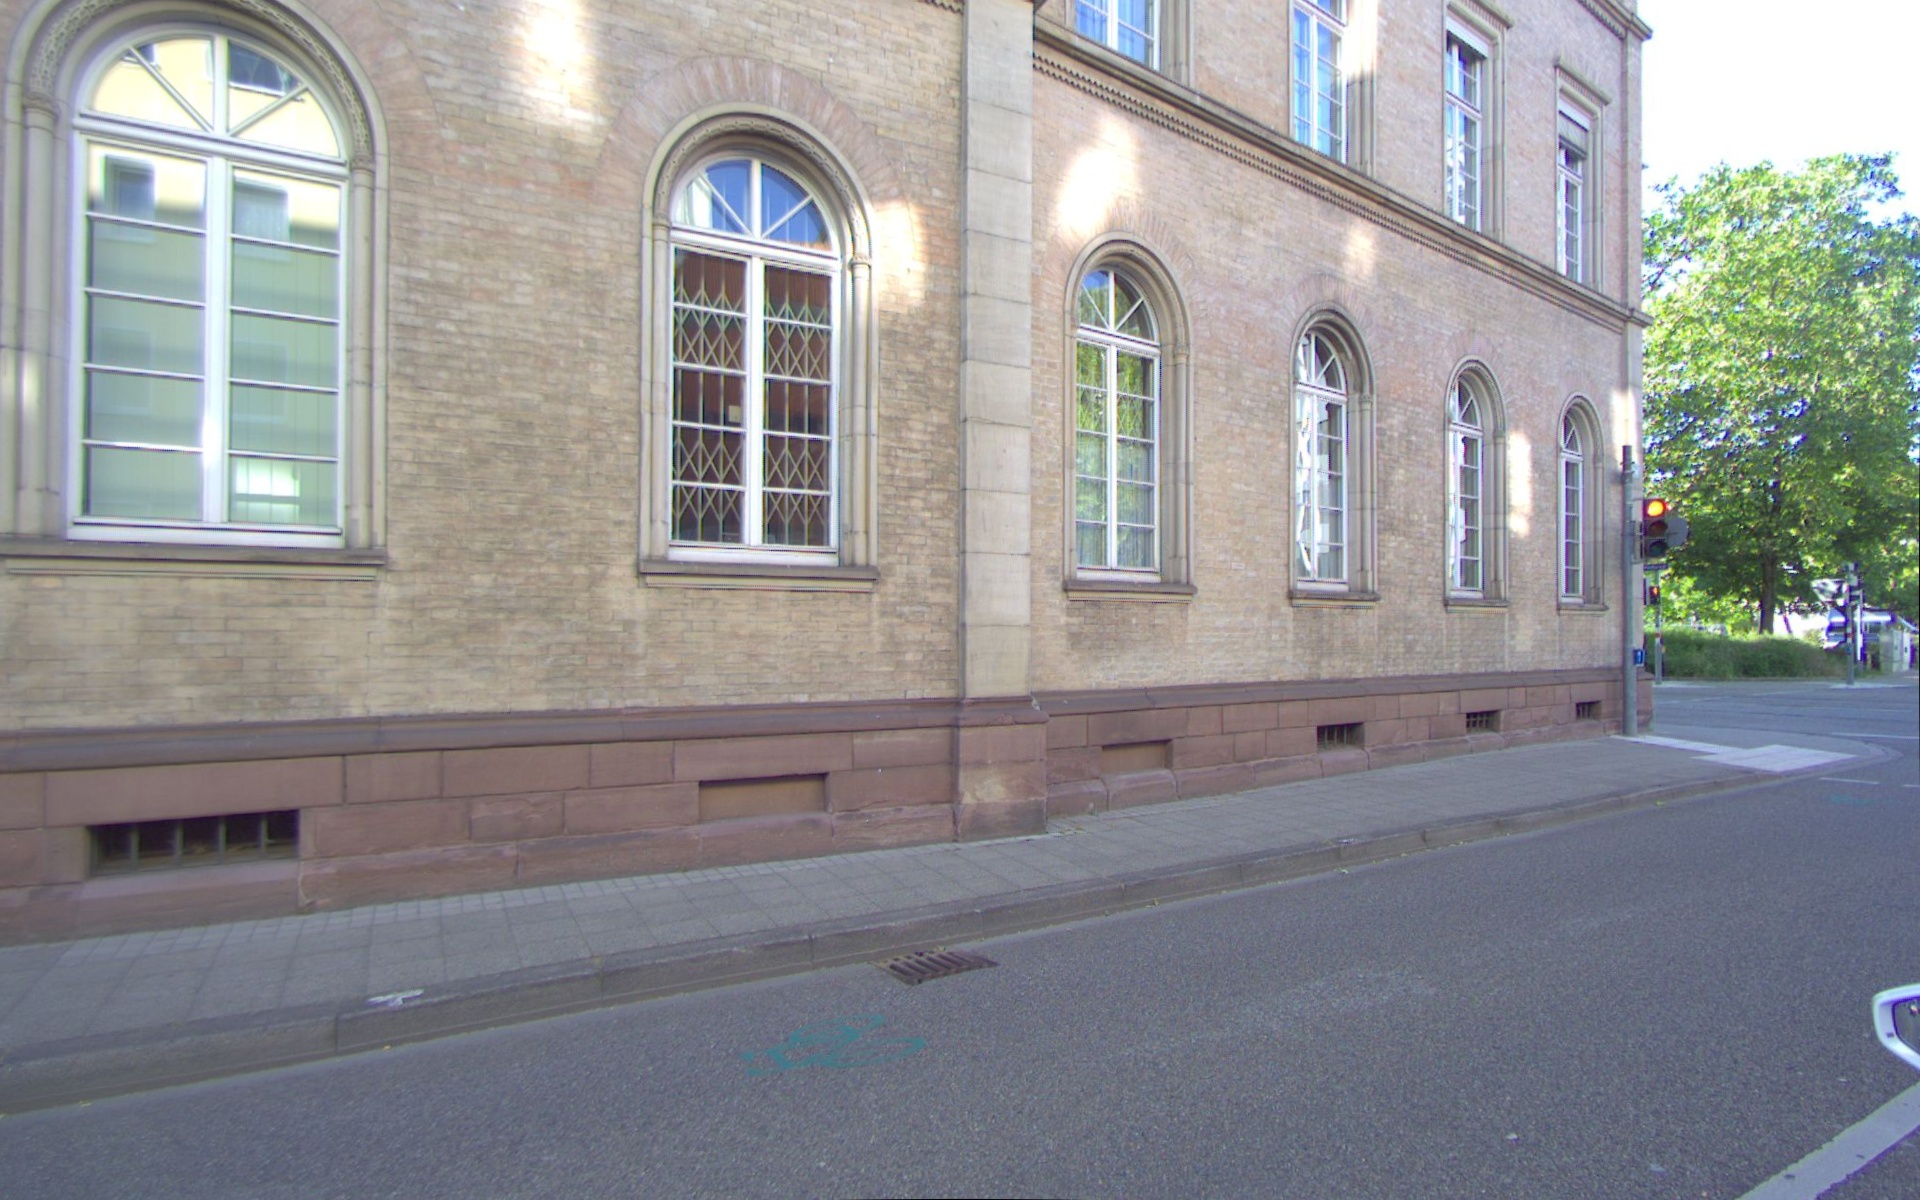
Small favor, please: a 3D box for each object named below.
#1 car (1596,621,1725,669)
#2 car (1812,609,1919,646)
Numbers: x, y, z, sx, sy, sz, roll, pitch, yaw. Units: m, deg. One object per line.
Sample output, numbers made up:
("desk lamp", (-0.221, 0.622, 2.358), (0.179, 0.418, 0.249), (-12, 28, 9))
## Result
("car", (24.364, 1.525, 35.015), (1.636, 1.476, 3.382), (2, 0, -39))
("car", (53.485, 1.608, 59.376), (1.983, 2.040, 4.409), (2, 0, -38))
